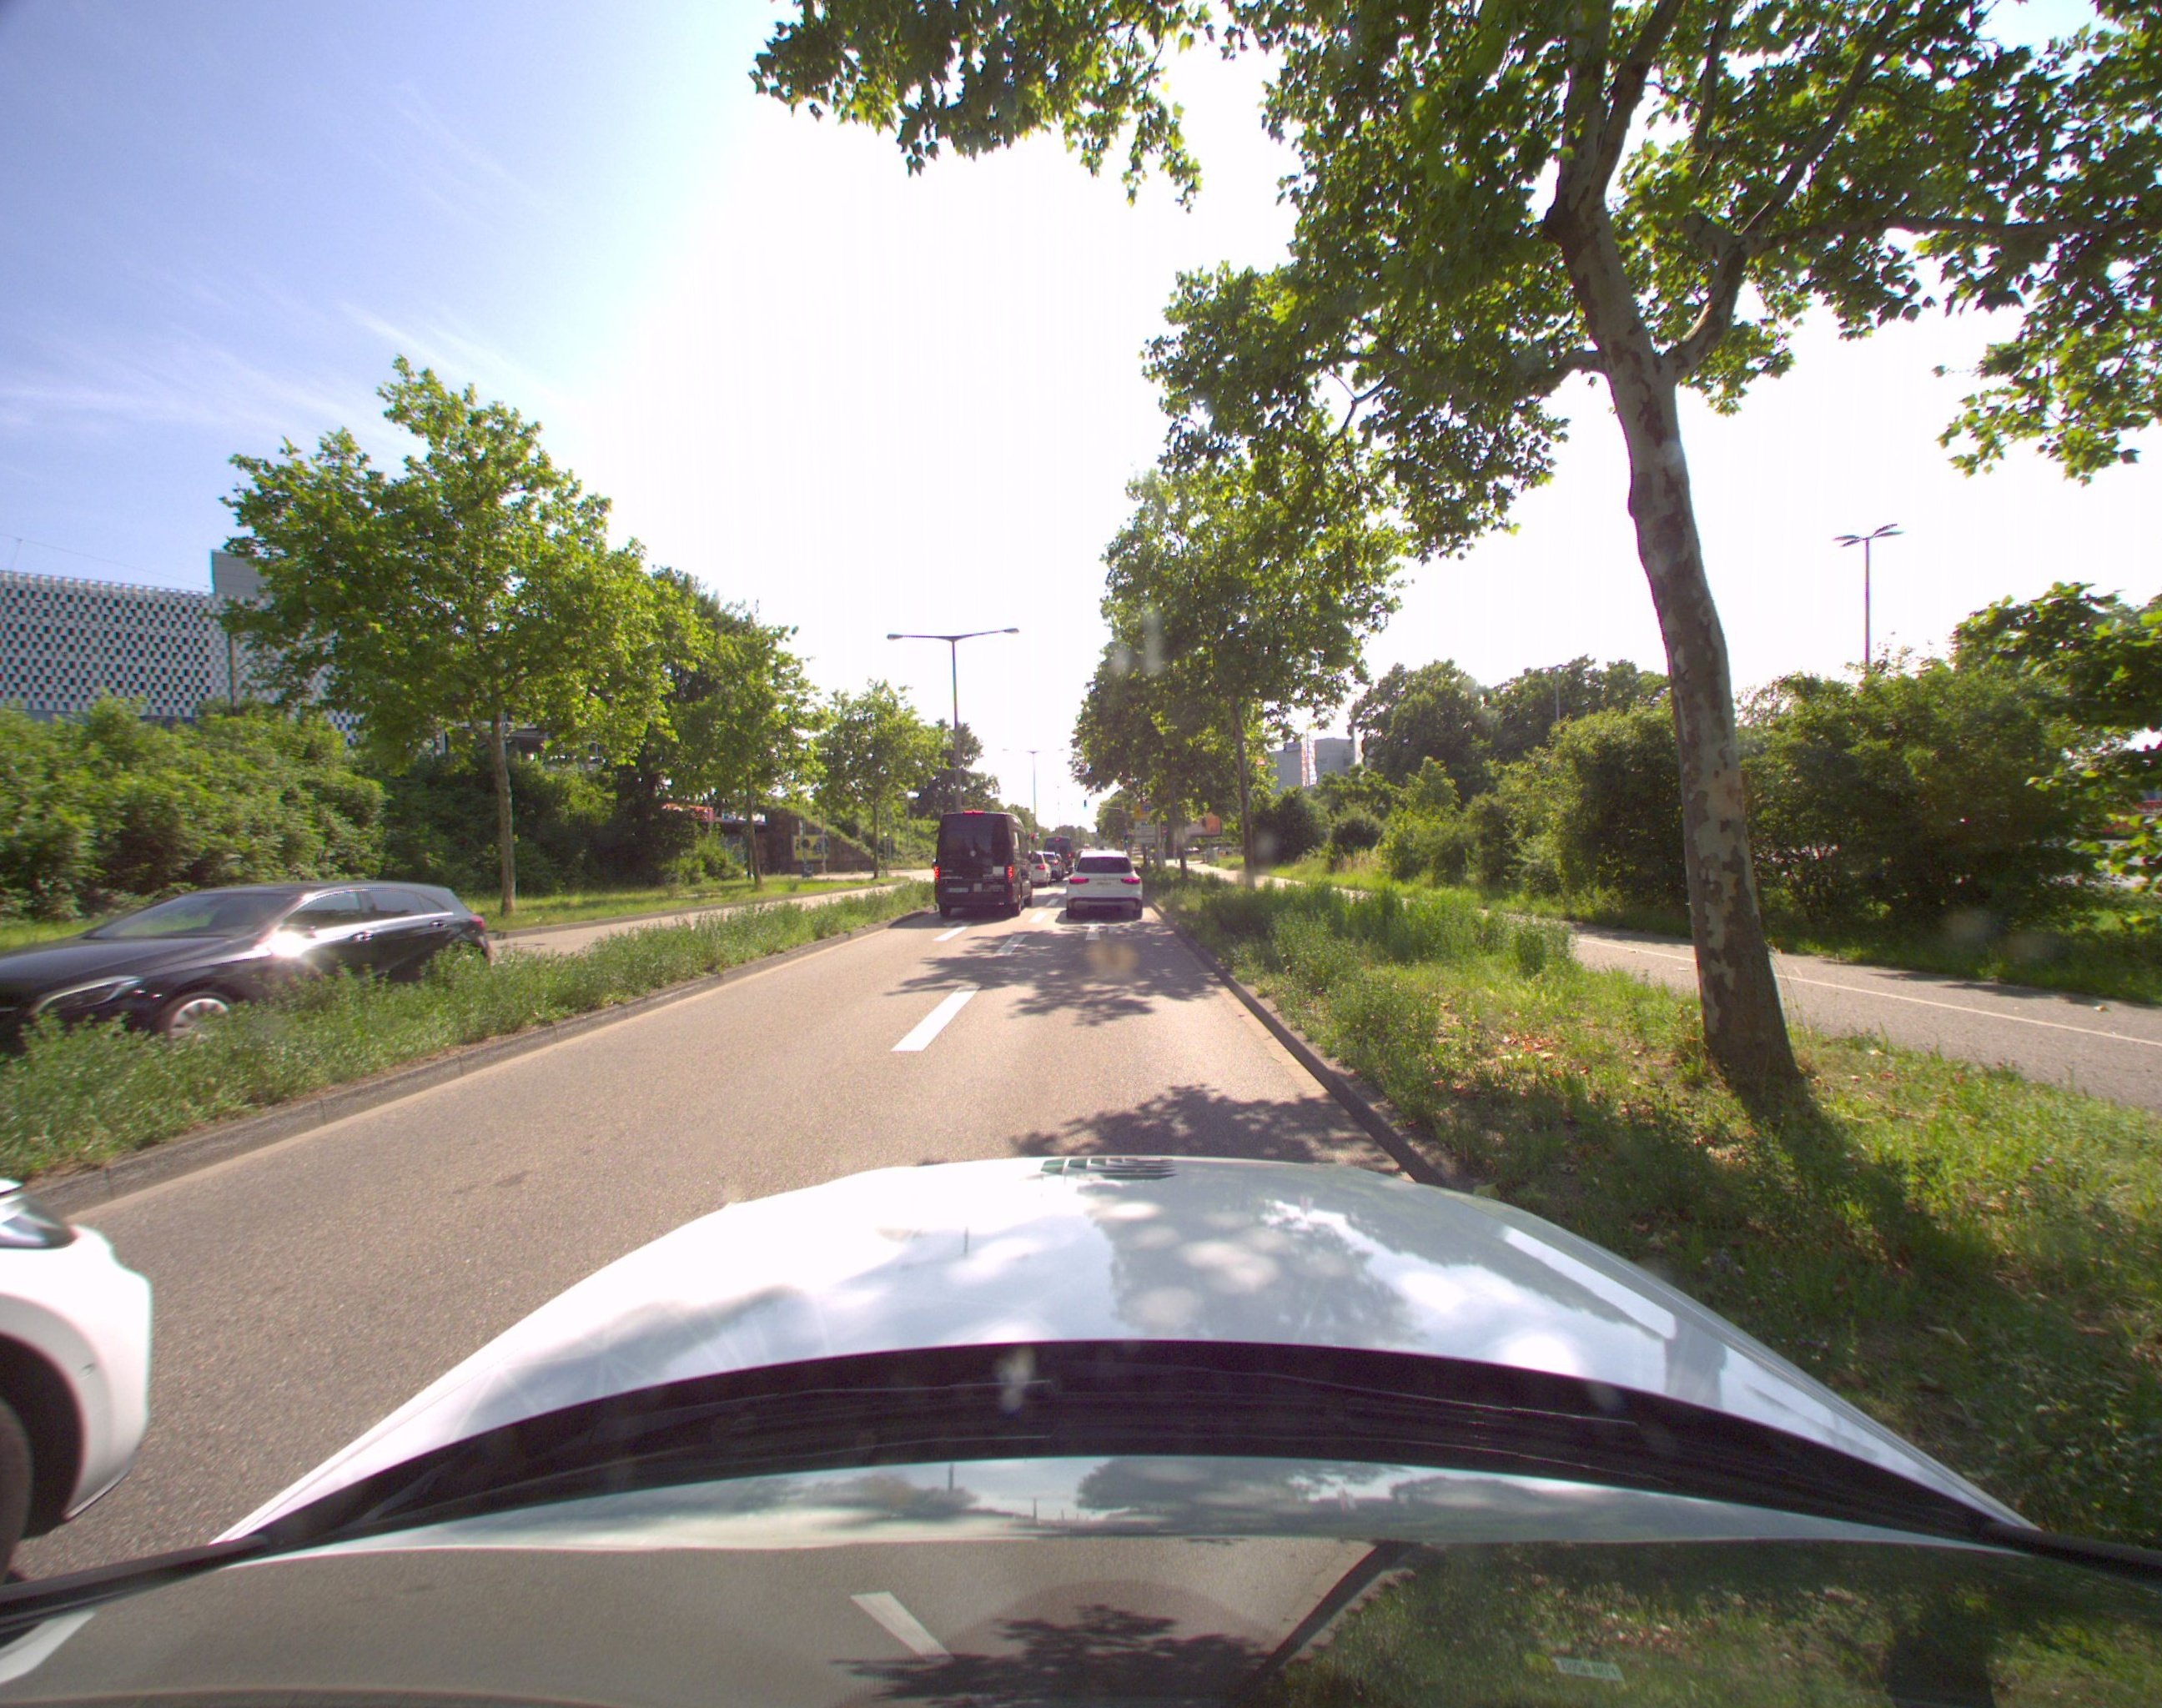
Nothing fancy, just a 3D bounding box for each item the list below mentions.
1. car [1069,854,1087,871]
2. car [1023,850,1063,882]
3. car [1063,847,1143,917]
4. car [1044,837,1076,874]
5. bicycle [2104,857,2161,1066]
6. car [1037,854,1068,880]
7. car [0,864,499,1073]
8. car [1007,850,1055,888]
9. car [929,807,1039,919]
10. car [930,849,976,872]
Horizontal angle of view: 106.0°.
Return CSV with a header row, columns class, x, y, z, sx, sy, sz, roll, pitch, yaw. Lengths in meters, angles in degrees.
class,x,y,z,sx,sy,sz,roll,pitch,yaw
car,-0.221,0.685,69.455,1.459,1.404,3.477,-1,0,1
car,-1.986,0.613,43.507,1.764,1.647,4.086,-1,0,2
car,0.588,0.647,20.830,1.846,1.607,4.002,0,0,2
car,-1.489,0.114,59.801,2.073,2.656,4.876,0,0,2
bicycle,7.046,0.663,4.288,0.720,1.299,2.096,-1,0,2
car,-1.691,0.777,49.543,1.685,1.505,3.887,0,0,1
car,-7.750,0.855,7.787,1.597,1.472,3.790,-1,0,1
car,-2.262,0.663,37.586,1.764,1.647,4.354,-1,0,2
car,-2.429,0.223,22.108,2.008,2.607,6.171,-1,0,2
car,-13.818,0.650,88.299,1.974,2.418,5.172,-1,0,33
